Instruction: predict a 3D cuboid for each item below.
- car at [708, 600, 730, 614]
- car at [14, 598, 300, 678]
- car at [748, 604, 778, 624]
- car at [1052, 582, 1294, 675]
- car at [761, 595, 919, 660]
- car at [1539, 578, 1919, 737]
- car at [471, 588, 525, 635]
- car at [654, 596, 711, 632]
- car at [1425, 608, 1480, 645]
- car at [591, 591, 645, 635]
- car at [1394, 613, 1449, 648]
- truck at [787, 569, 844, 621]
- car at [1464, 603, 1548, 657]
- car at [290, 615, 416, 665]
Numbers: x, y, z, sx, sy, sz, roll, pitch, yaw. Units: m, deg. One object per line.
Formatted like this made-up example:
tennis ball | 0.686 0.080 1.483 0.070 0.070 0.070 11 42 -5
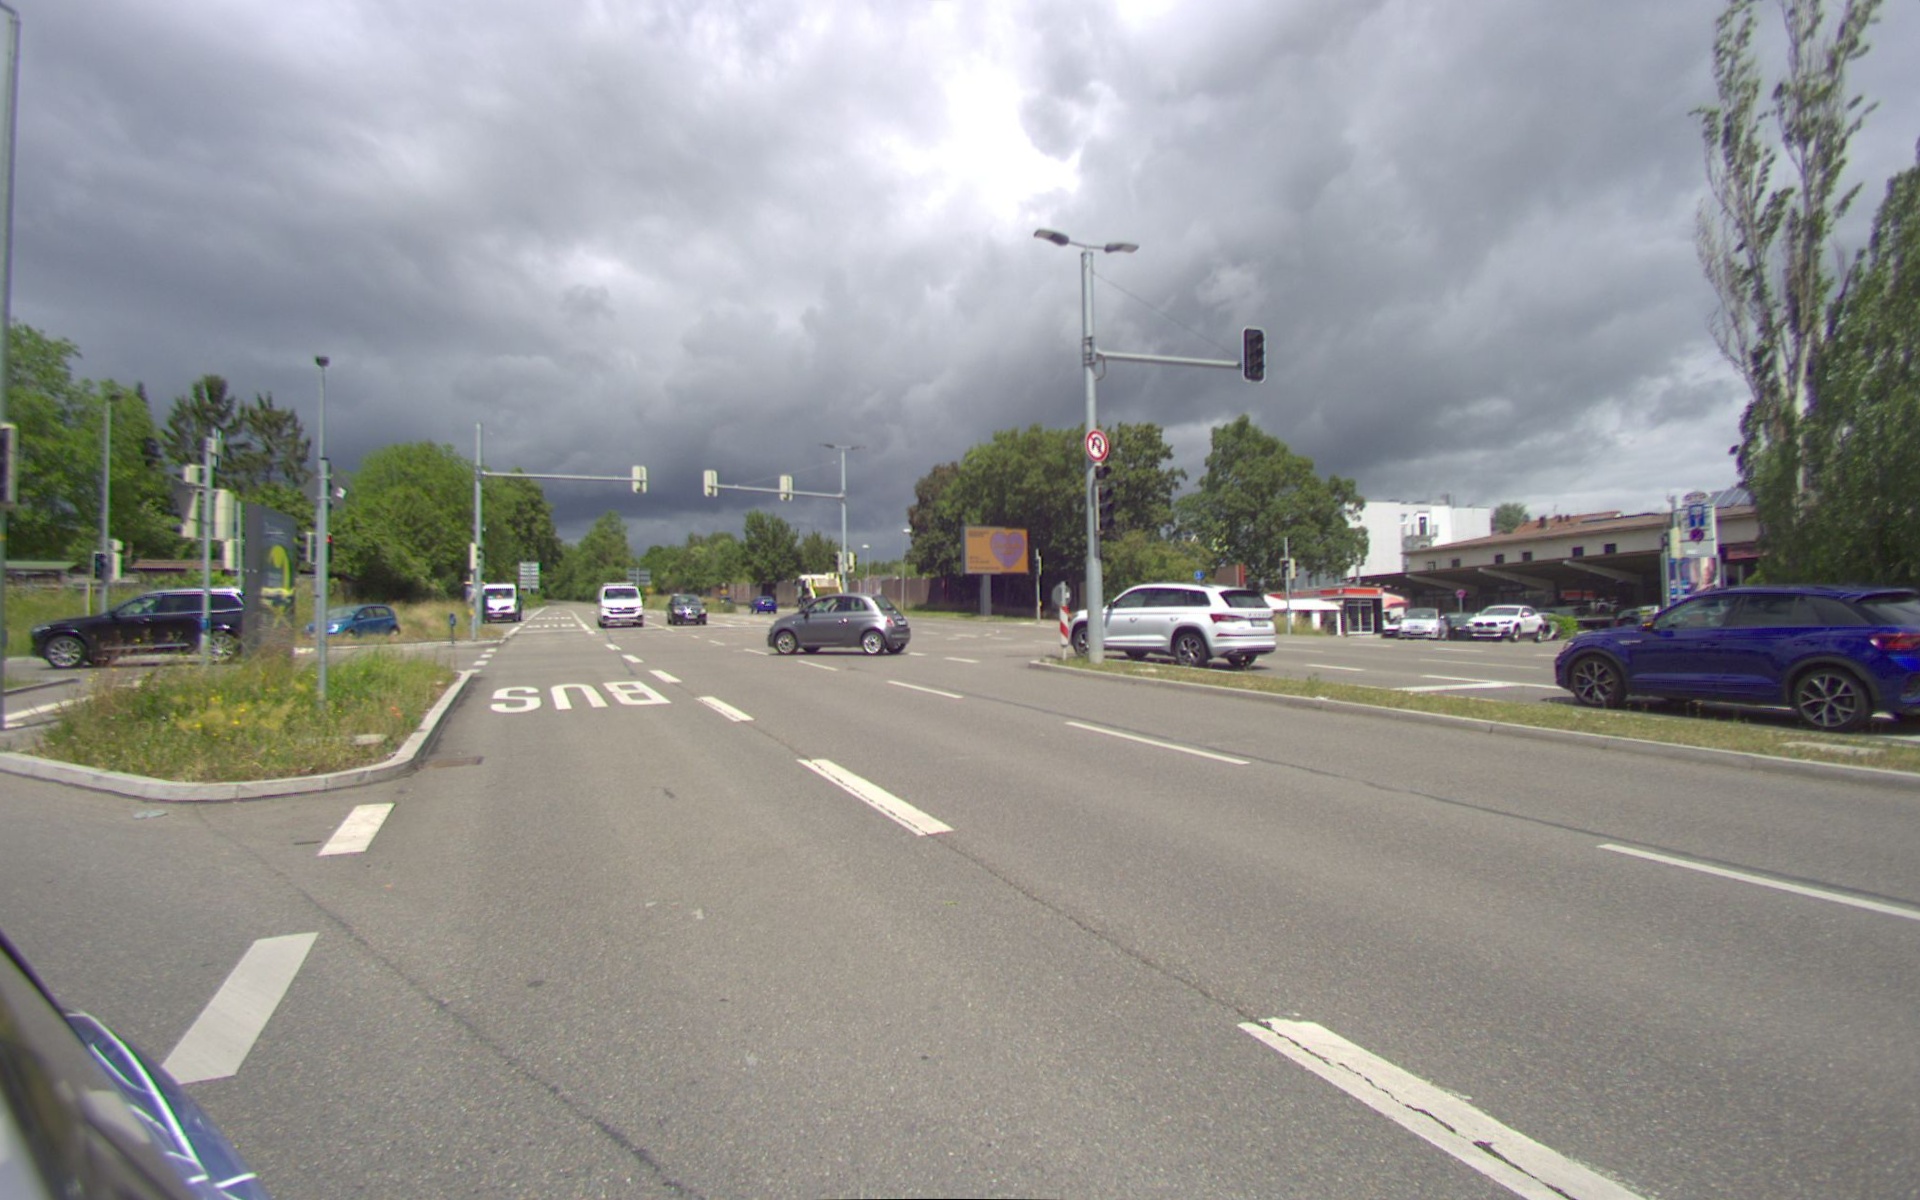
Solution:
car | -25.190 0.712 105.661 1.667 1.411 4.013 0 -1 -22
car | -18.692 0.830 23.854 4.896 1.702 1.917 -1 0 -18
car | -16.458 1.206 84.410 1.667 1.411 4.013 0 -4 -23
car | 4.185 0.555 20.702 1.705 1.671 4.911 0 -1 -38
car | -2.913 0.701 24.618 3.496 1.472 1.575 -2 -3 19
car | 9.381 0.573 11.795 1.779 1.522 4.412 -1 -1 -21
car | -27.956 0.683 61.437 2.128 2.670 5.843 -1 0 -16
car | -13.747 0.655 49.882 1.878 1.648 4.988 -1 0 -25
car | 23.711 1.232 48.665 1.737 1.664 3.808 -1 0 35
car | -16.120 0.578 47.548 1.878 1.952 4.988 -1 0 -25
car | 20.051 1.291 43.889 1.691 1.411 3.956 -1 -1 32
truck | -11.856 -0.300 82.509 2.797 3.607 6.989 0 -5 -23
car | 22.101 1.259 40.942 1.999 2.029 3.944 -6 -6 42
car | -22.677 1.457 38.027 1.886 1.649 4.444 -1 0 3
